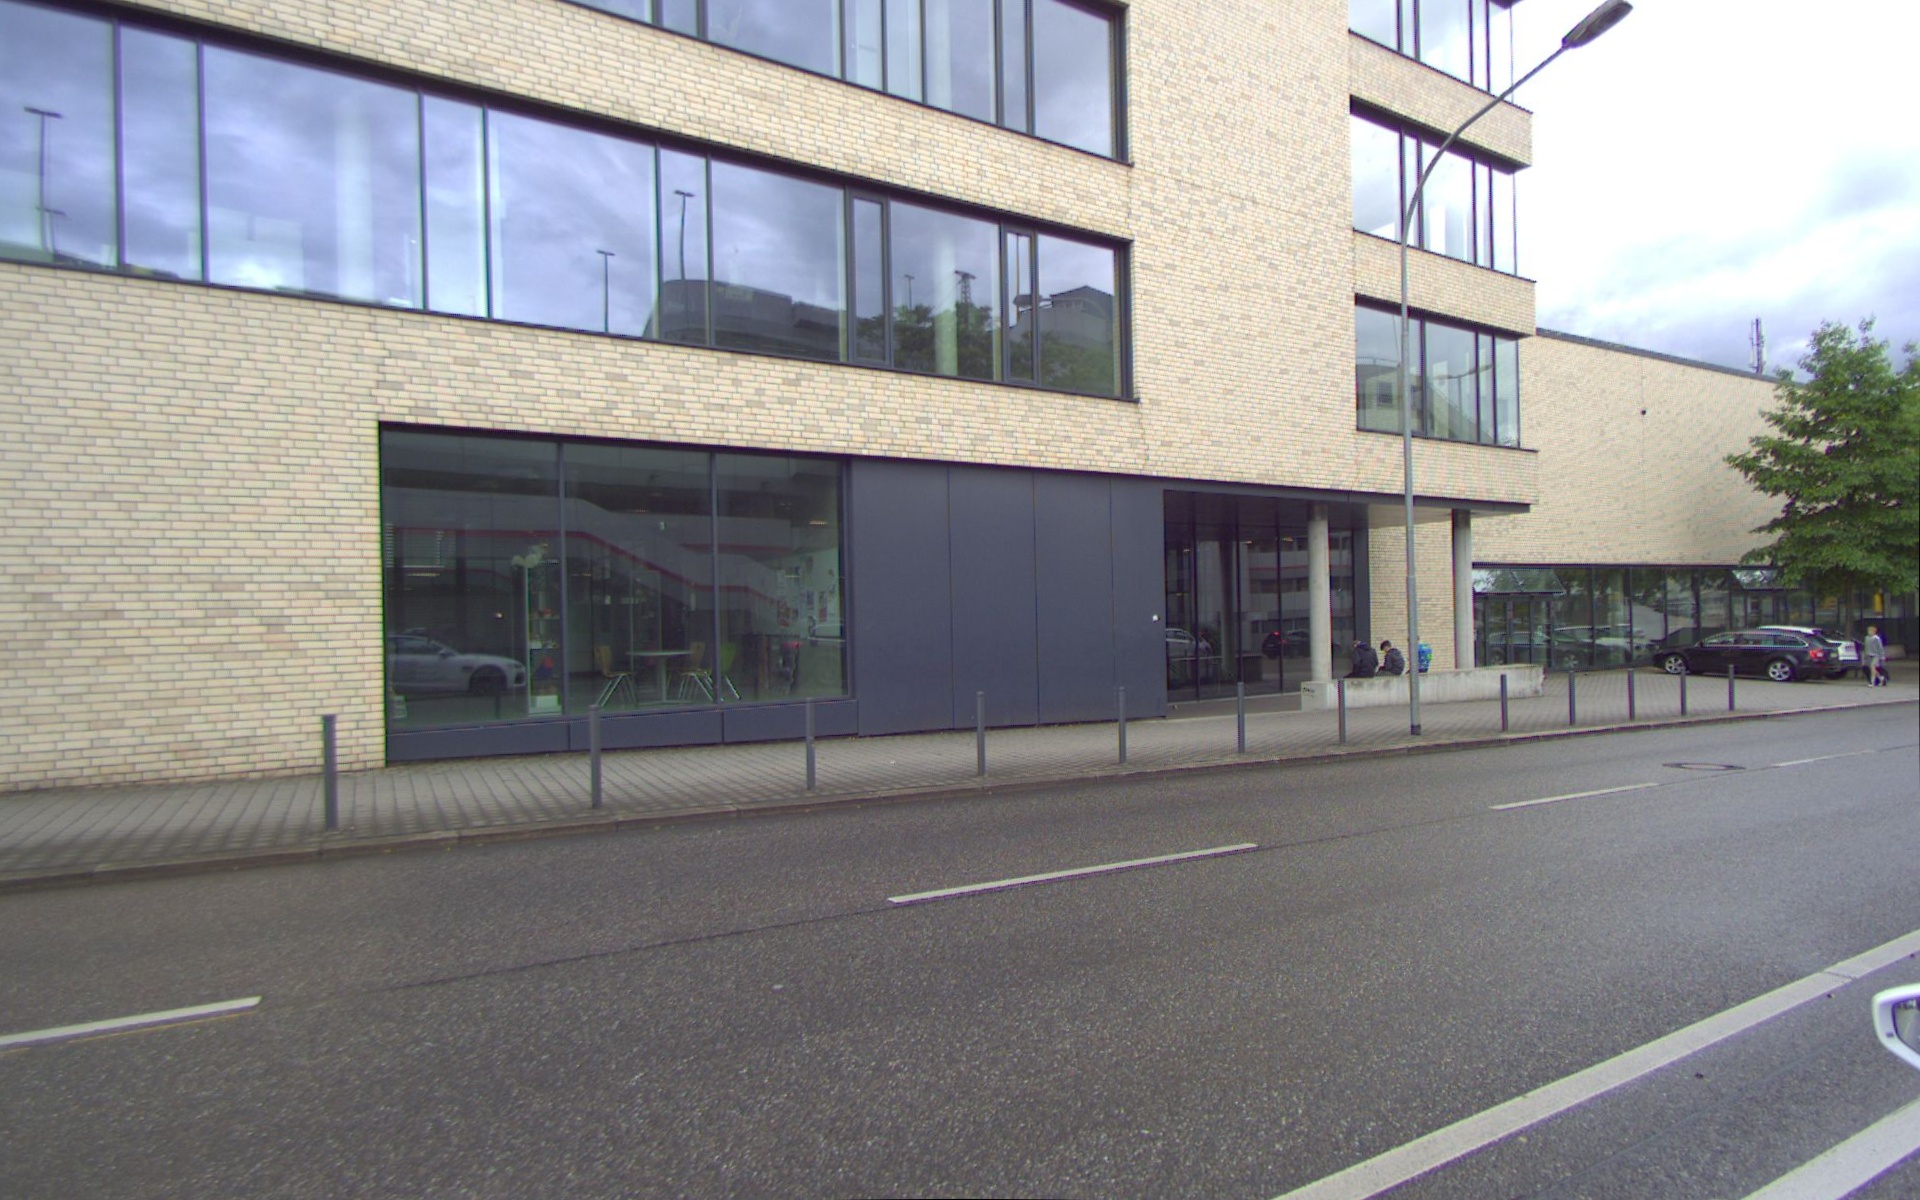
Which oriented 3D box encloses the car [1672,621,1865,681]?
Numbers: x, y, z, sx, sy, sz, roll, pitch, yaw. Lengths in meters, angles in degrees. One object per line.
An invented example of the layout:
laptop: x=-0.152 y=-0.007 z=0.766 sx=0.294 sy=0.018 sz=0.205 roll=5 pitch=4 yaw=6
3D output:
car: x=25.393 y=1.548 z=31.683 sx=1.980 sy=1.595 sz=4.387 roll=-1 pitch=1 yaw=-35

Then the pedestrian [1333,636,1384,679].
pedestrian: x=7.936 y=1.140 z=20.011 sx=0.751 sy=0.796 sz=0.595 roll=2 pitch=0 yaw=-29

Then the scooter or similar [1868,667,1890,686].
scooter or similar: x=25.741 y=2.131 z=28.133 sx=0.609 sy=0.507 sz=0.278 roll=2 pitch=0 yaw=-30

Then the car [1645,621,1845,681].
car: x=23.687 y=1.488 z=30.473 sx=1.980 sy=1.608 sz=4.439 roll=1 pitch=0 yaw=-35

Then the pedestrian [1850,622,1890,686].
pedestrian: x=25.383 y=1.496 z=28.021 sx=0.473 sy=1.720 sz=0.673 roll=1 pitch=0 yaw=-29

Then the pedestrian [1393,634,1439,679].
pedestrian: x=9.606 y=1.184 z=21.162 sx=0.519 sy=0.897 sz=0.677 roll=2 pitch=0 yaw=-32

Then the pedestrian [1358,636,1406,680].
pedestrian: x=8.593 y=1.177 z=20.468 sx=0.719 sy=0.856 sz=0.584 roll=2 pitch=-1 yaw=-29
